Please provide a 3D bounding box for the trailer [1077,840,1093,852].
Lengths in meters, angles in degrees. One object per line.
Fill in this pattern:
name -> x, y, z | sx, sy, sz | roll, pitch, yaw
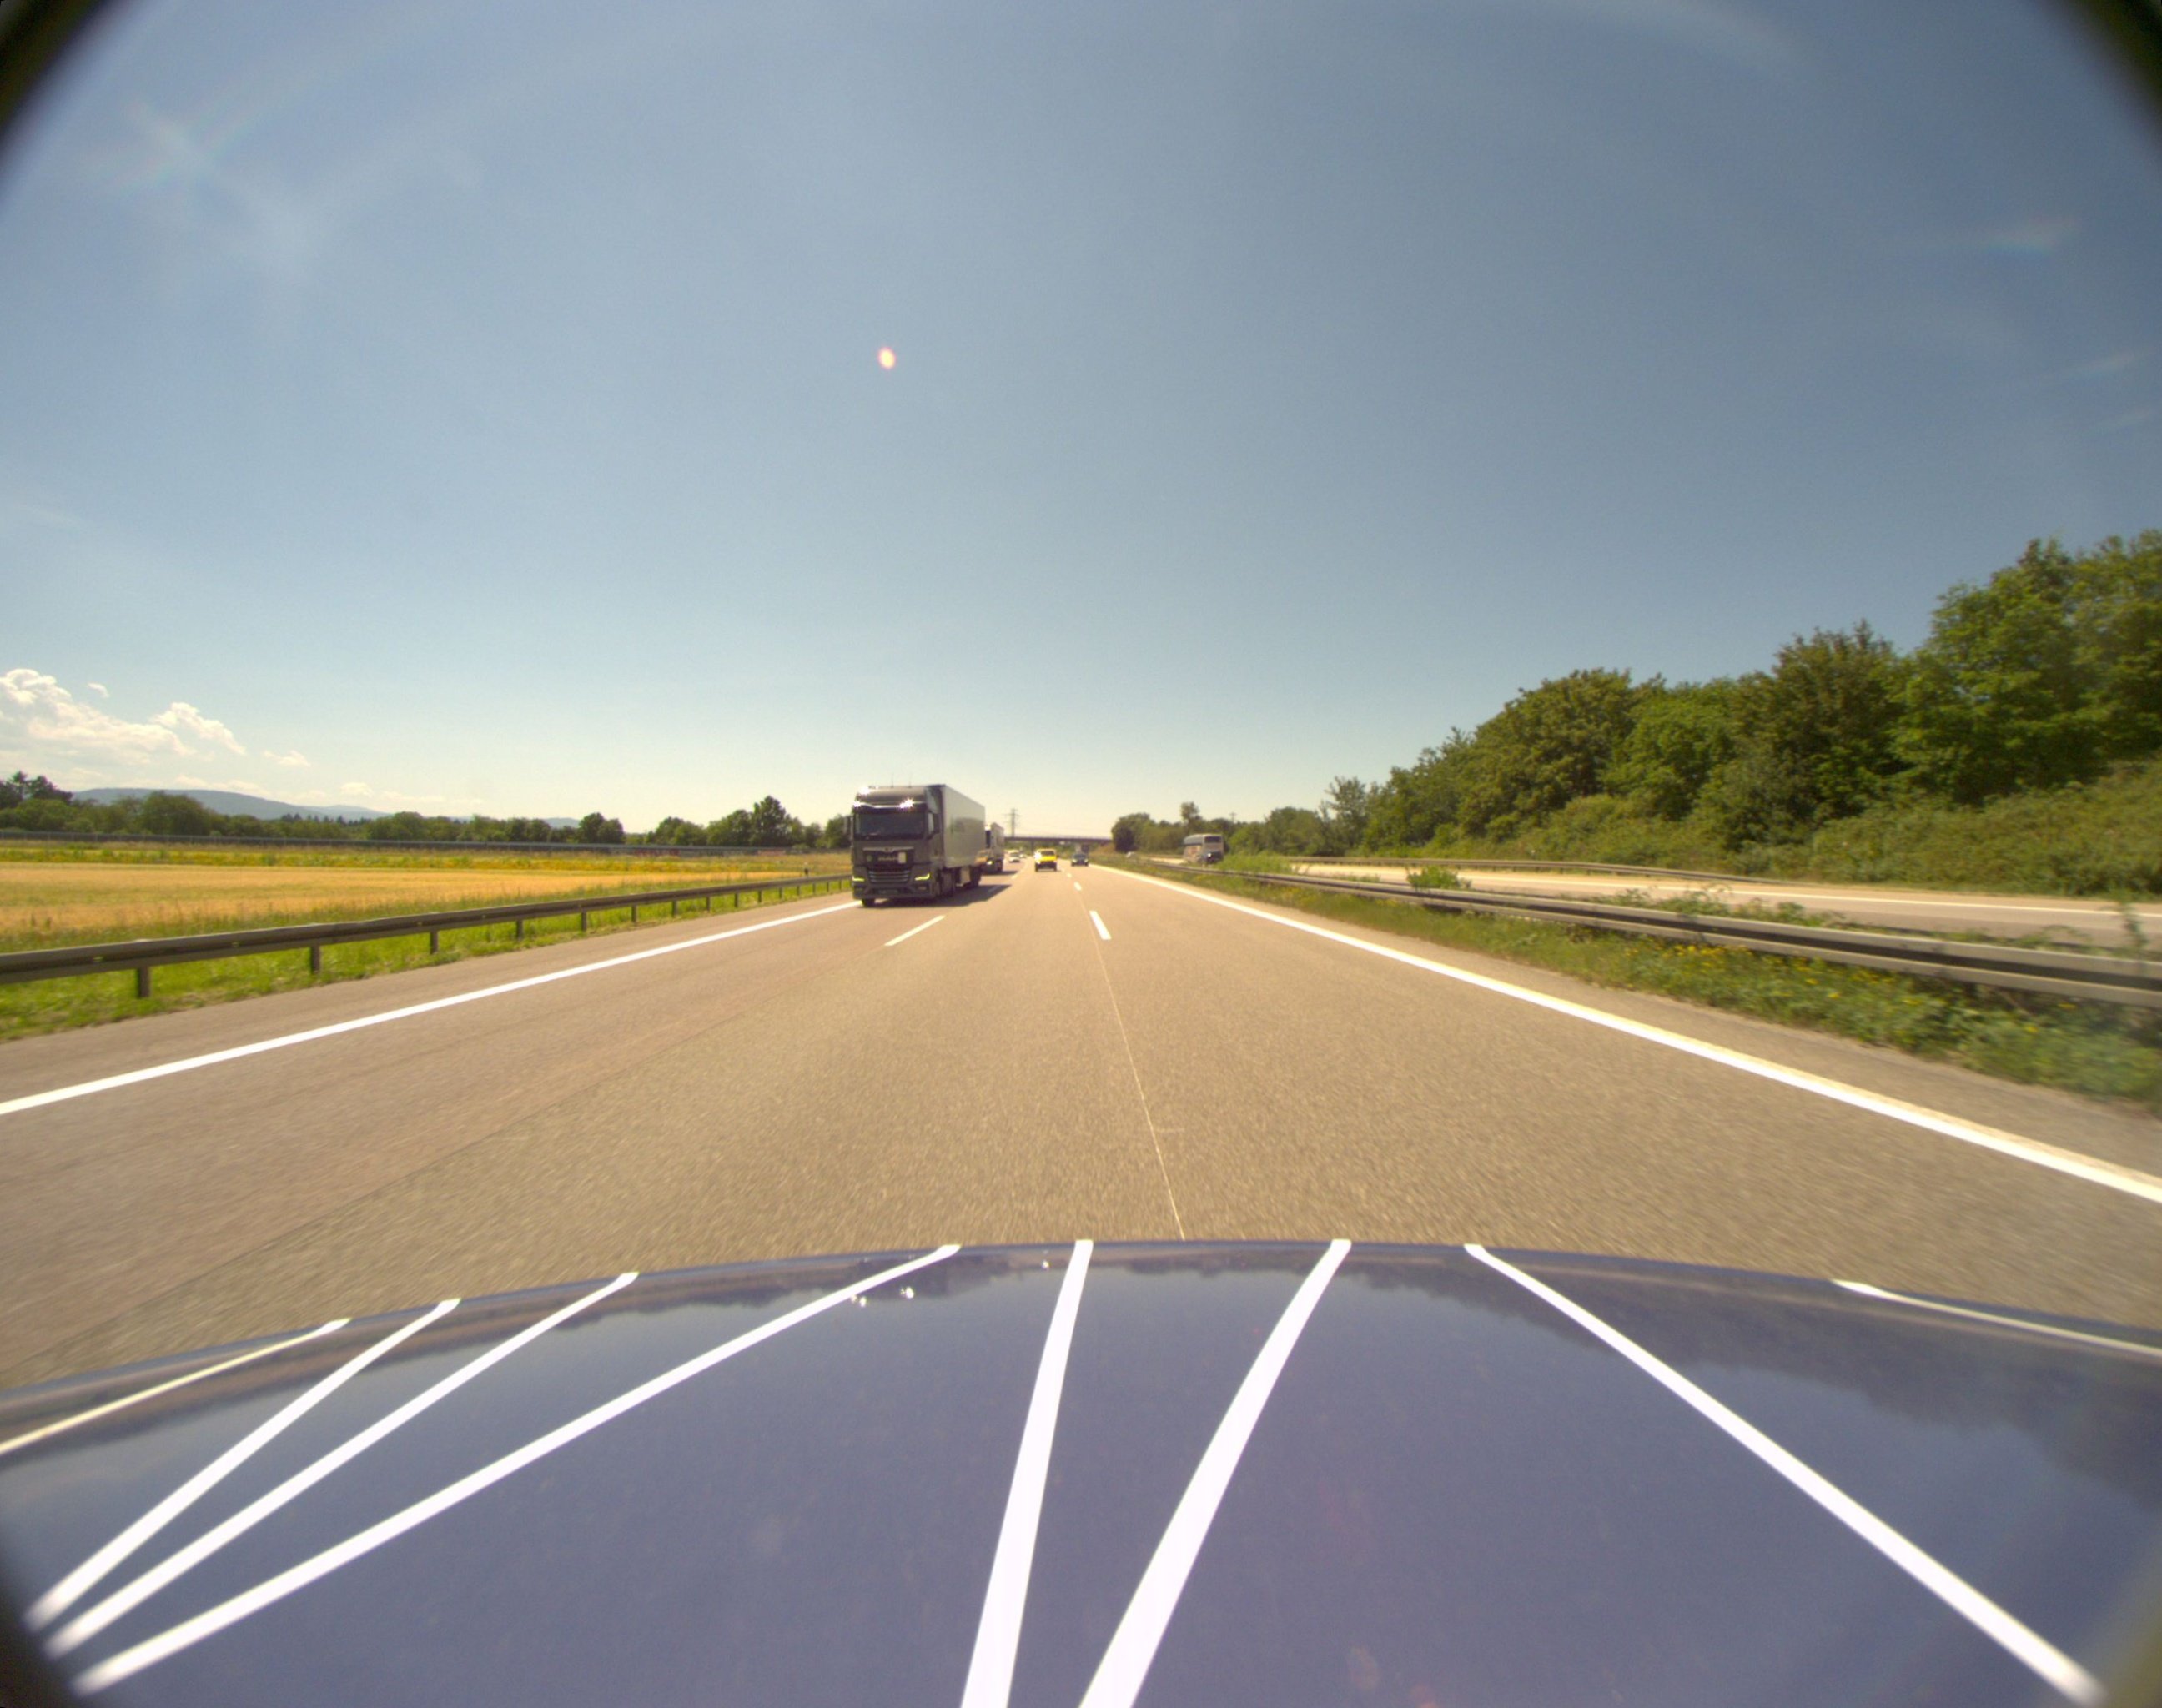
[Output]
trailer -> 1.174, -2.547, 246.663 | 2.890, 3.925, 14.044 | -1, 0, -9

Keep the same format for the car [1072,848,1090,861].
car -> -0.018, 0.042, 86.687 | 1.726, 1.478, 3.998 | -1, 0, -5

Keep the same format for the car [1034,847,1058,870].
car -> -3.064, 0.368, 66.100 | 1.777, 1.882, 3.830 | 0, 1, -6

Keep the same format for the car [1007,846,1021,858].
car -> -12.304, -0.353, 139.709 | 2.190, 2.253, 4.946 | 0, 1, -10

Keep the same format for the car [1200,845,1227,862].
car -> 13.436, -0.082, 77.322 | 1.830, 1.622, 4.558 | 0, 0, -2

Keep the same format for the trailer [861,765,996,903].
trailer -> -5.932, -0.717, 32.735 | 2.908, 4.630, 13.984 | -1, 1, 0

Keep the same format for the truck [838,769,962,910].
truck -> -5.909, -0.451, 25.626 | 2.915, 4.231, 4.974 | -1, 1, 0

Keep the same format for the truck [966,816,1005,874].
truck -> -7.319, -0.735, 58.758 | 2.608, 4.232, 5.085 | -1, 2, -4

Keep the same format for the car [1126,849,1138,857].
car -> 9.540, -0.210, 141.506 | 1.772, 1.506, 4.329 | -2, 1, -2

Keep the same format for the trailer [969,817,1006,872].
trailer -> -7.957, -0.968, 66.236 | 2.603, 4.228, 13.629 | -1, 2, -5

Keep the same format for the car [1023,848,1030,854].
car -> -15.691, -0.826, 217.656 | 1.650, 1.557, 3.596 | 0, 1, -10

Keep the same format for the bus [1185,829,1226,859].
bus -> 16.161, -1.293, 99.584 | 2.749, 3.686, 12.996 | -1, 1, -2

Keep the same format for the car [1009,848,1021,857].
car -> -11.562, -0.250, 133.194 | 1.785, 1.467, 3.996 | 0, 1, -10
